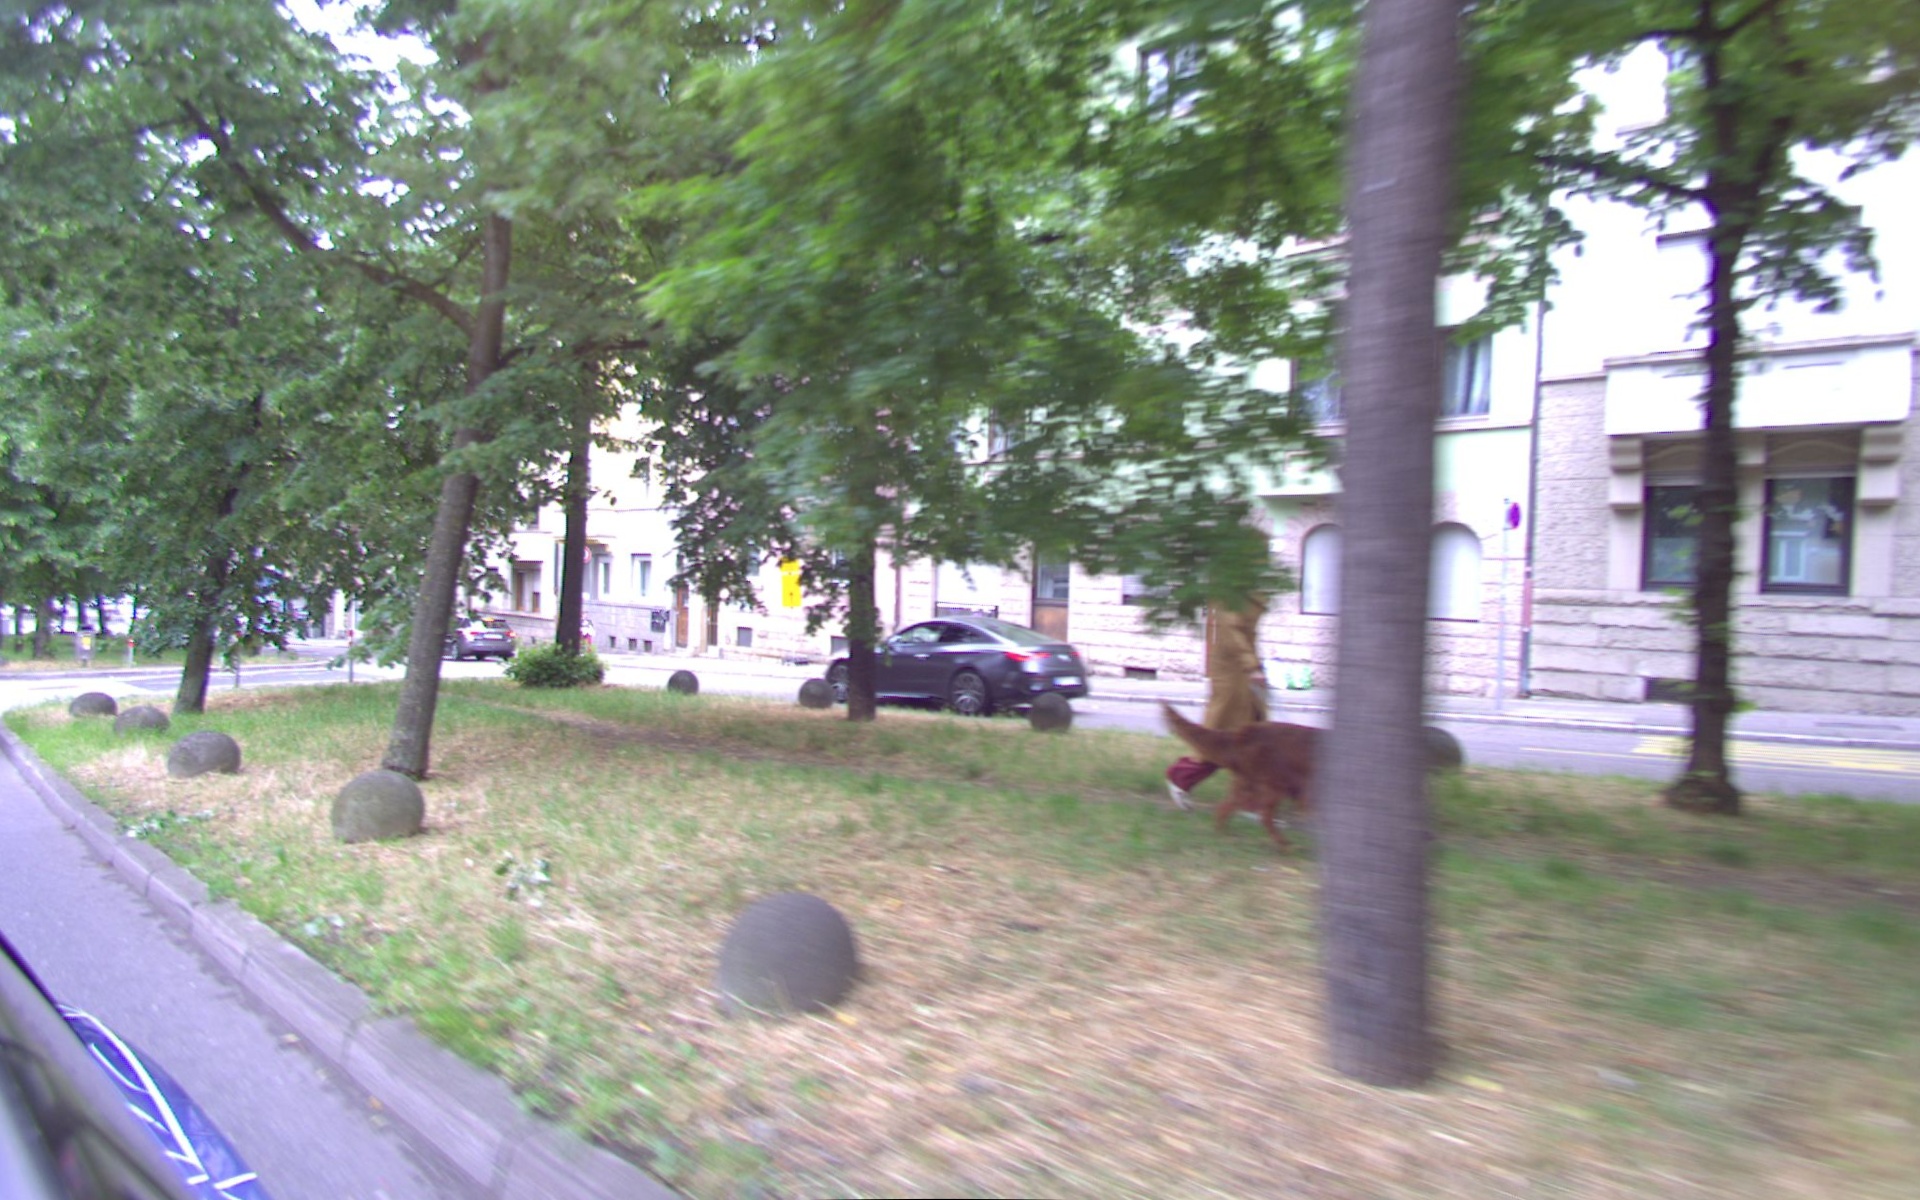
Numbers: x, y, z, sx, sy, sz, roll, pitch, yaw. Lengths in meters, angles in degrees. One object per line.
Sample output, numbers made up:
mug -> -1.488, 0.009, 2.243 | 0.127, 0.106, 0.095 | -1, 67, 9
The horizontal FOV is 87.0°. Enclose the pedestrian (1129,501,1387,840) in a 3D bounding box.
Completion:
pedestrian -> 1.712, 0.368, 5.841 | 1.123, 1.725, 0.824 | 1, -2, 42

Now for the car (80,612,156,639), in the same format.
car -> -67.396, 1.989, 81.062 | 4.197, 2.029, 2.006 | 0, 1, -17

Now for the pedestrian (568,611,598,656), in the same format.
pedestrian -> -12.711, 1.124, 34.153 | 0.704, 1.471, 0.691 | -2, -1, 43

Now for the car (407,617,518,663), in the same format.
car -> -16.188, 1.296, 32.841 | 4.668, 1.393, 1.690 | -2, -3, 43

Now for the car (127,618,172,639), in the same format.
car -> -57.218, 1.987, 71.444 | 4.291, 1.417, 1.652 | -1, -2, 40

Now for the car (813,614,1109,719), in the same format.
car -> -0.130, 0.970, 15.669 | 4.668, 1.393, 1.739 | -2, -3, 43

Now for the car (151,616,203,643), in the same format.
car -> -51.254, 1.897, 66.252 | 4.677, 1.649, 1.797 | 0, -2, 41
